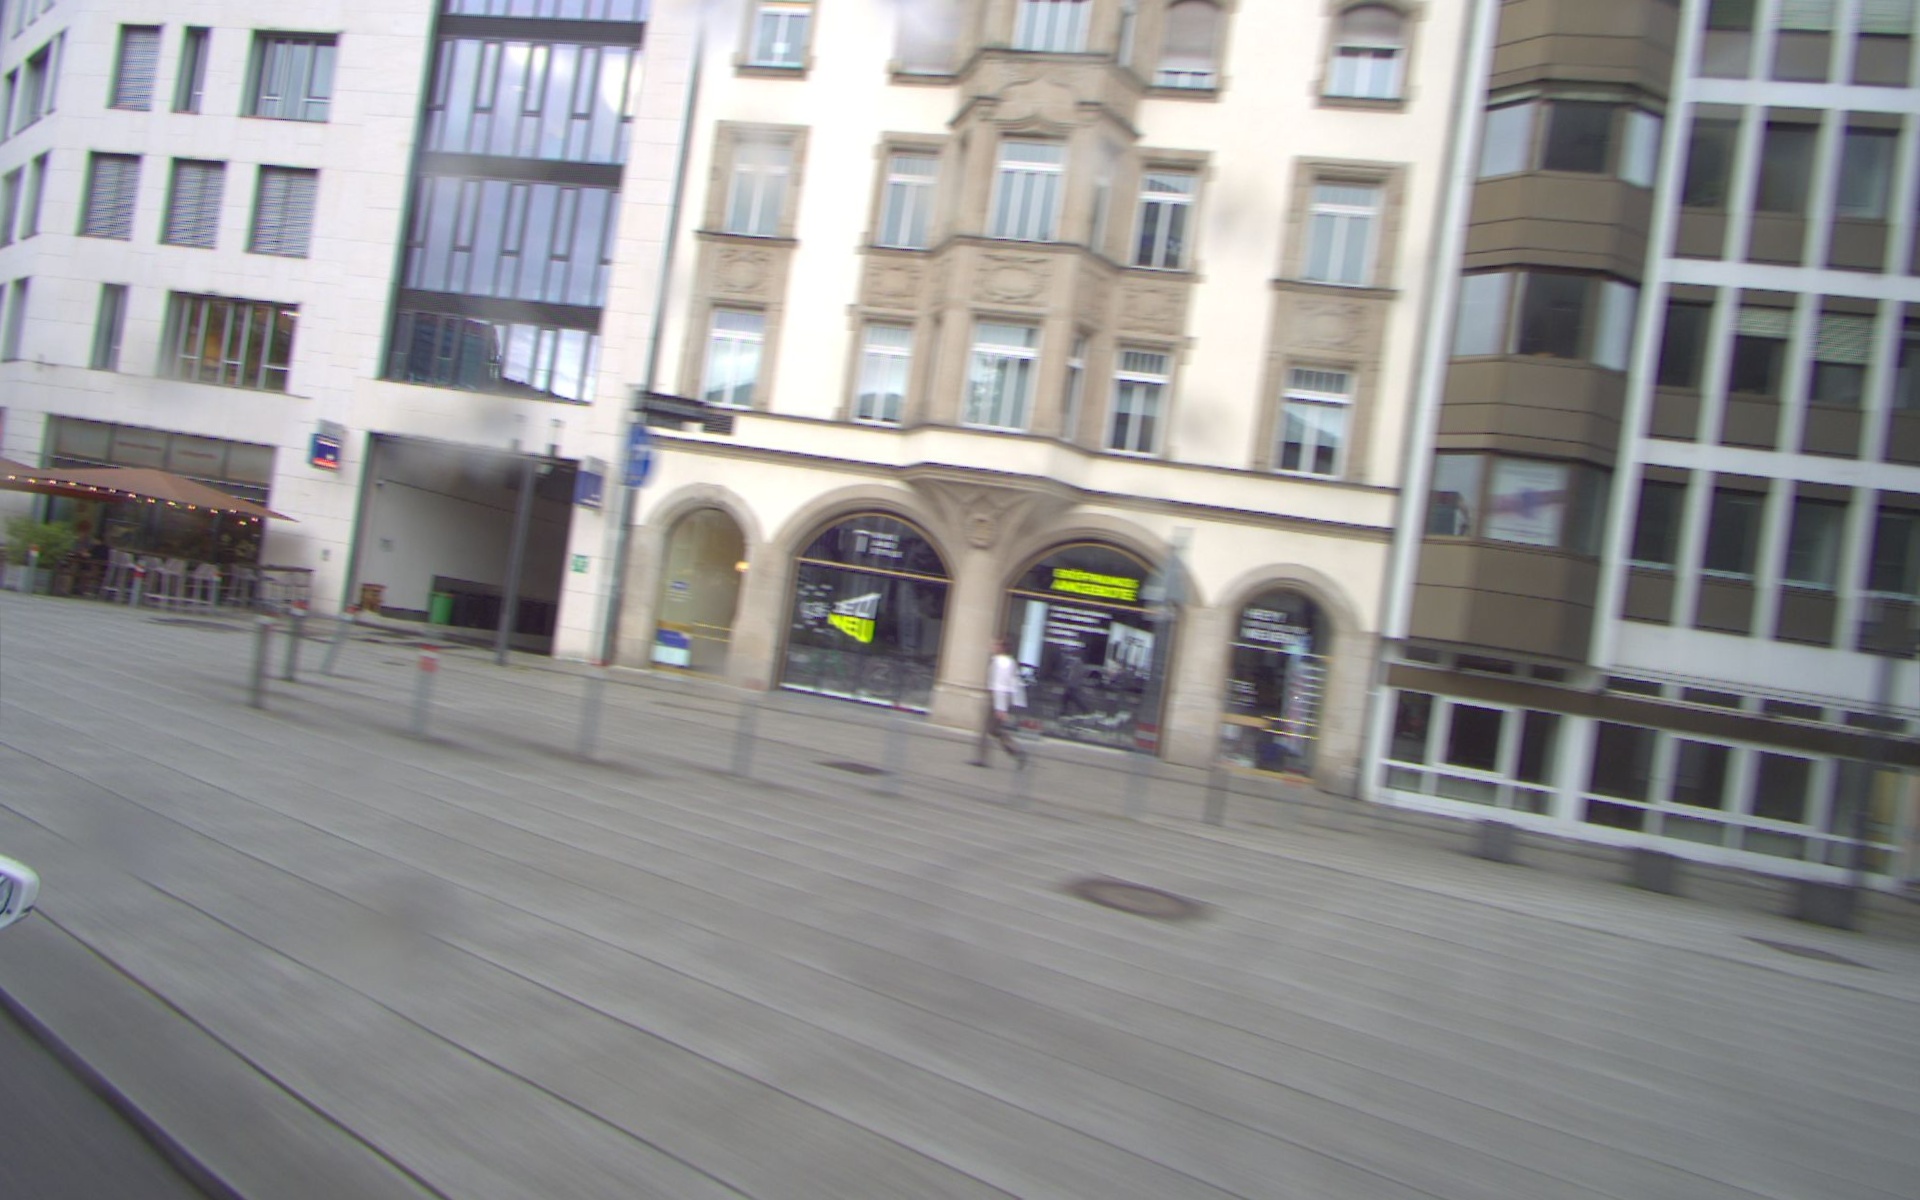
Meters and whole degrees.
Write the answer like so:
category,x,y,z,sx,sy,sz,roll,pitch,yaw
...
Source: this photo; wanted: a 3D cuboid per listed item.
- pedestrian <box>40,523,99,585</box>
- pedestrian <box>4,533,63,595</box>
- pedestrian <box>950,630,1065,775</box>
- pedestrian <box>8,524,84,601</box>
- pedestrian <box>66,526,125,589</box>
category,x,y,z,sx,sy,sz,roll,pitch,yaw
pedestrian,-21.163,-1.088,23.917,0.623,1.340,0.630,8,-3,12
pedestrian,-22.296,-0.852,24.215,0.623,1.340,0.630,8,-3,12
pedestrian,0.696,1.464,14.450,1.227,1.857,0.876,6,-4,22
pedestrian,-17.821,-0.735,19.622,0.625,1.340,0.776,6,-4,32
pedestrian,-20.348,-0.996,23.690,0.623,1.340,0.630,8,-3,12
